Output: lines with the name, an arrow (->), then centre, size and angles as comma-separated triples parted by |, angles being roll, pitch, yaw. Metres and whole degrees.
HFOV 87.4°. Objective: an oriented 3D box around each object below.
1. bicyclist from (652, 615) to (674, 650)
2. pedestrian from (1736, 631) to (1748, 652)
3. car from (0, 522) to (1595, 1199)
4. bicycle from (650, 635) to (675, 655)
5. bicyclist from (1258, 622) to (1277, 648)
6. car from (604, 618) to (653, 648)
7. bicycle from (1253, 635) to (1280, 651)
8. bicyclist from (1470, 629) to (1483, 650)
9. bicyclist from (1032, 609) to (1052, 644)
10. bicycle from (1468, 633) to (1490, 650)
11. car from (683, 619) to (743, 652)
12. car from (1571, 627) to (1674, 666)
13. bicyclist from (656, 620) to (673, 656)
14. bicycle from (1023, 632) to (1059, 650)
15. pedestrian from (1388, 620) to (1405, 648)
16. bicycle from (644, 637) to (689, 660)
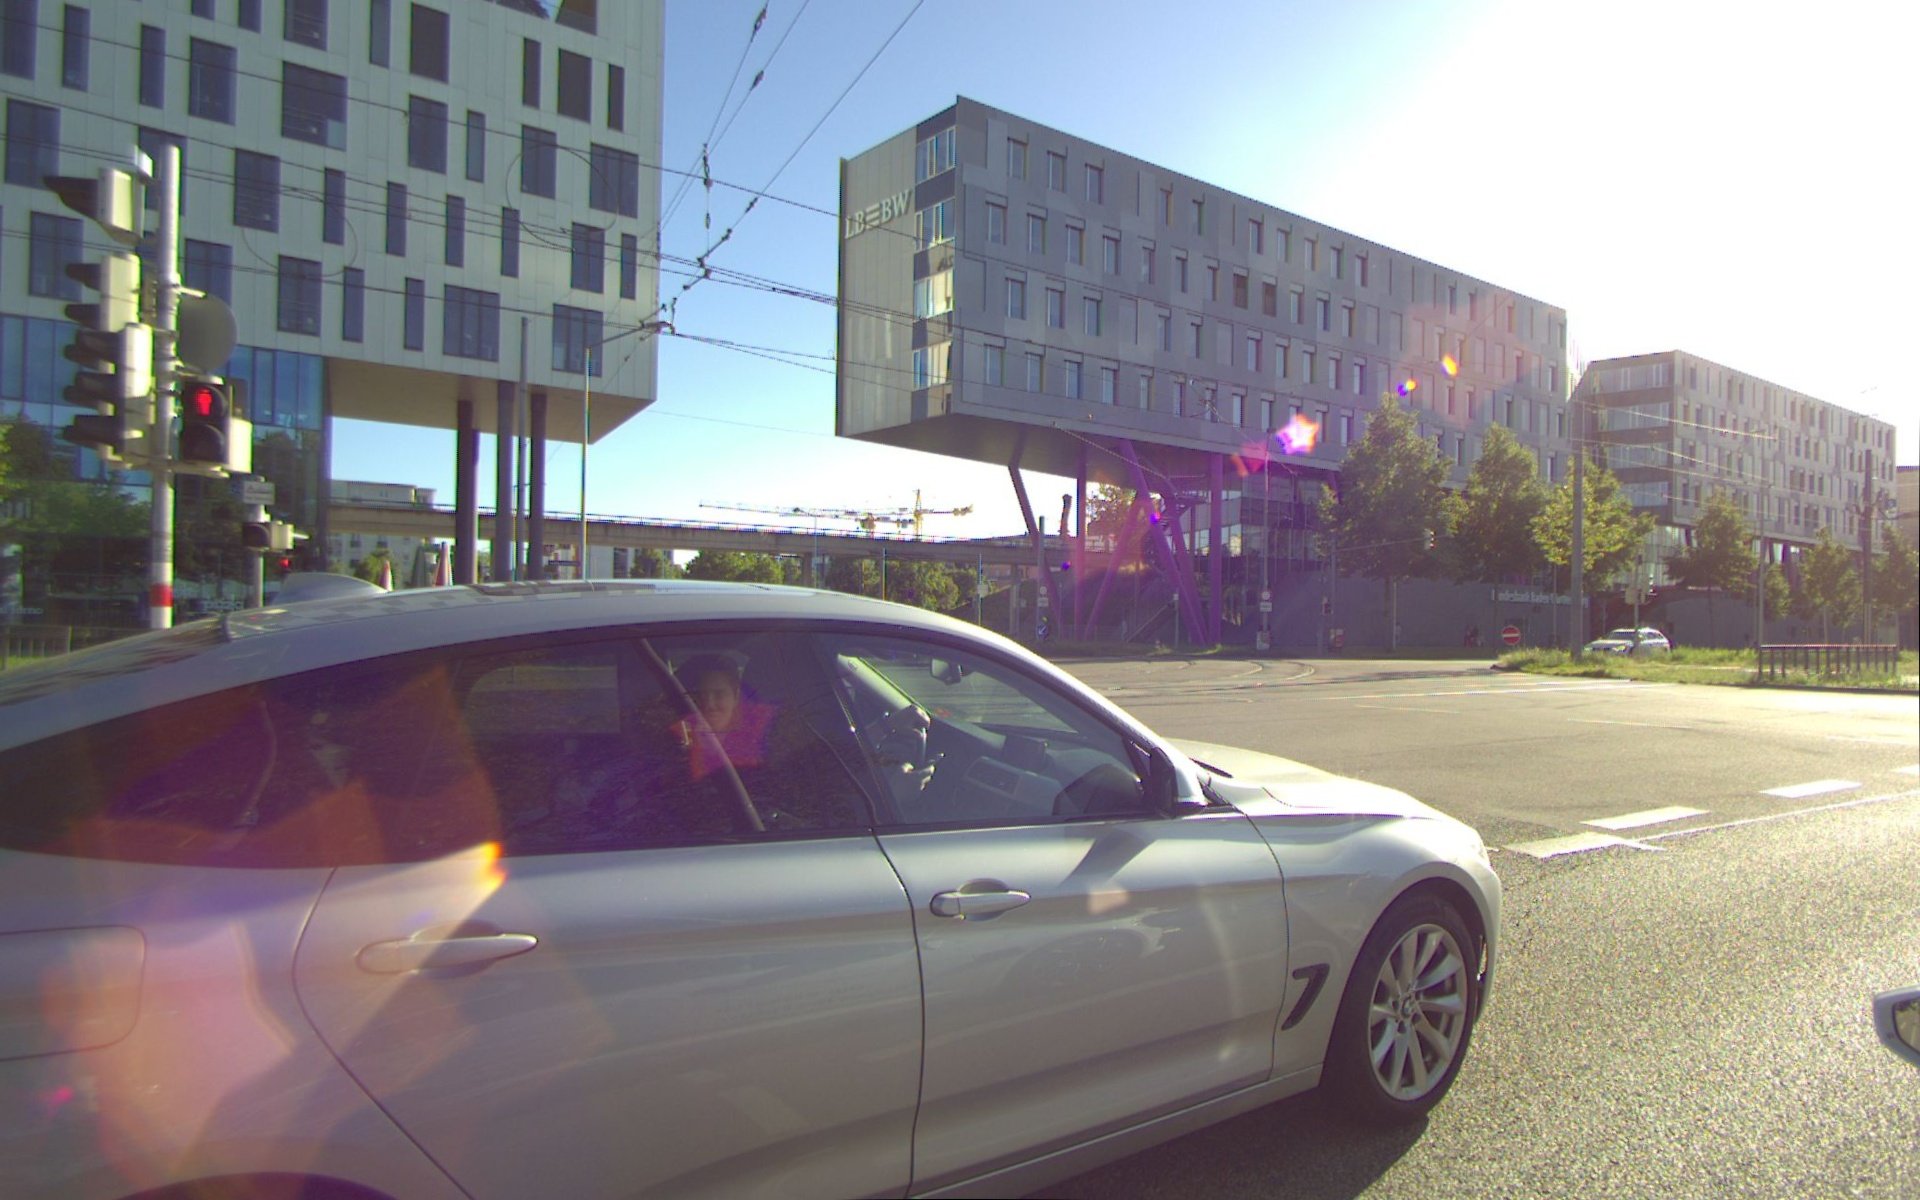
bicyclist -> -13.687, 1.492, 46.275 | 0.742, 1.604, 0.949 | 1, -1, -29
pedestrian -> 78.511, 4.144, 100.846 | 0.682, 2.040, 0.732 | 2, -1, -31
car -> -0.430, 0.699, 2.738 | 4.858, 1.547, 1.788 | 2, 0, -33
bicycle -> -13.724, 2.074, 46.326 | 0.740, 0.874, 1.817 | 1, -1, -29
bicyclist -> 17.737, 2.007, 57.988 | 0.947, 1.454, 0.567 | 1, -1, -31
car -> -18.621, 1.822, 56.282 | 1.975, 1.586, 3.971 | 1, -1, -28
bicycle -> 17.692, 2.464, 57.964 | 1.673, 0.874, 0.573 | 1, -1, -31
bicyclist -> 38.239, 2.921, 74.384 | 0.754, 1.515, 0.555 | 1, -1, -32
bicyclist -> 4.089, 1.314, 50.160 | 0.828, 1.749, 0.527 | 1, -1, -31
bicycle -> 38.348, 3.079, 74.190 | 1.953, 1.188, 0.517 | 2, -1, -32
car -> -12.486, 1.785, 50.625 | 1.975, 1.586, 3.971 | 1, -1, -28
car -> 28.676, 1.988, 43.452 | 4.820, 1.583, 1.982 | 1, -1, -33
bicyclist -> -11.748, 1.509, 39.972 | 0.546, 1.442, 0.479 | 1, -1, -30
bicycle -> 4.050, 2.020, 50.131 | 1.813, 0.874, 0.525 | 1, -1, -31
pedestrian -> 29.700, 2.323, 68.396 | 0.861, 1.846, 0.717 | 1, -1, -31
bicycle -> -11.677, 1.917, 40.003 | 1.672, 0.874, 0.479 | 1, -1, -31
